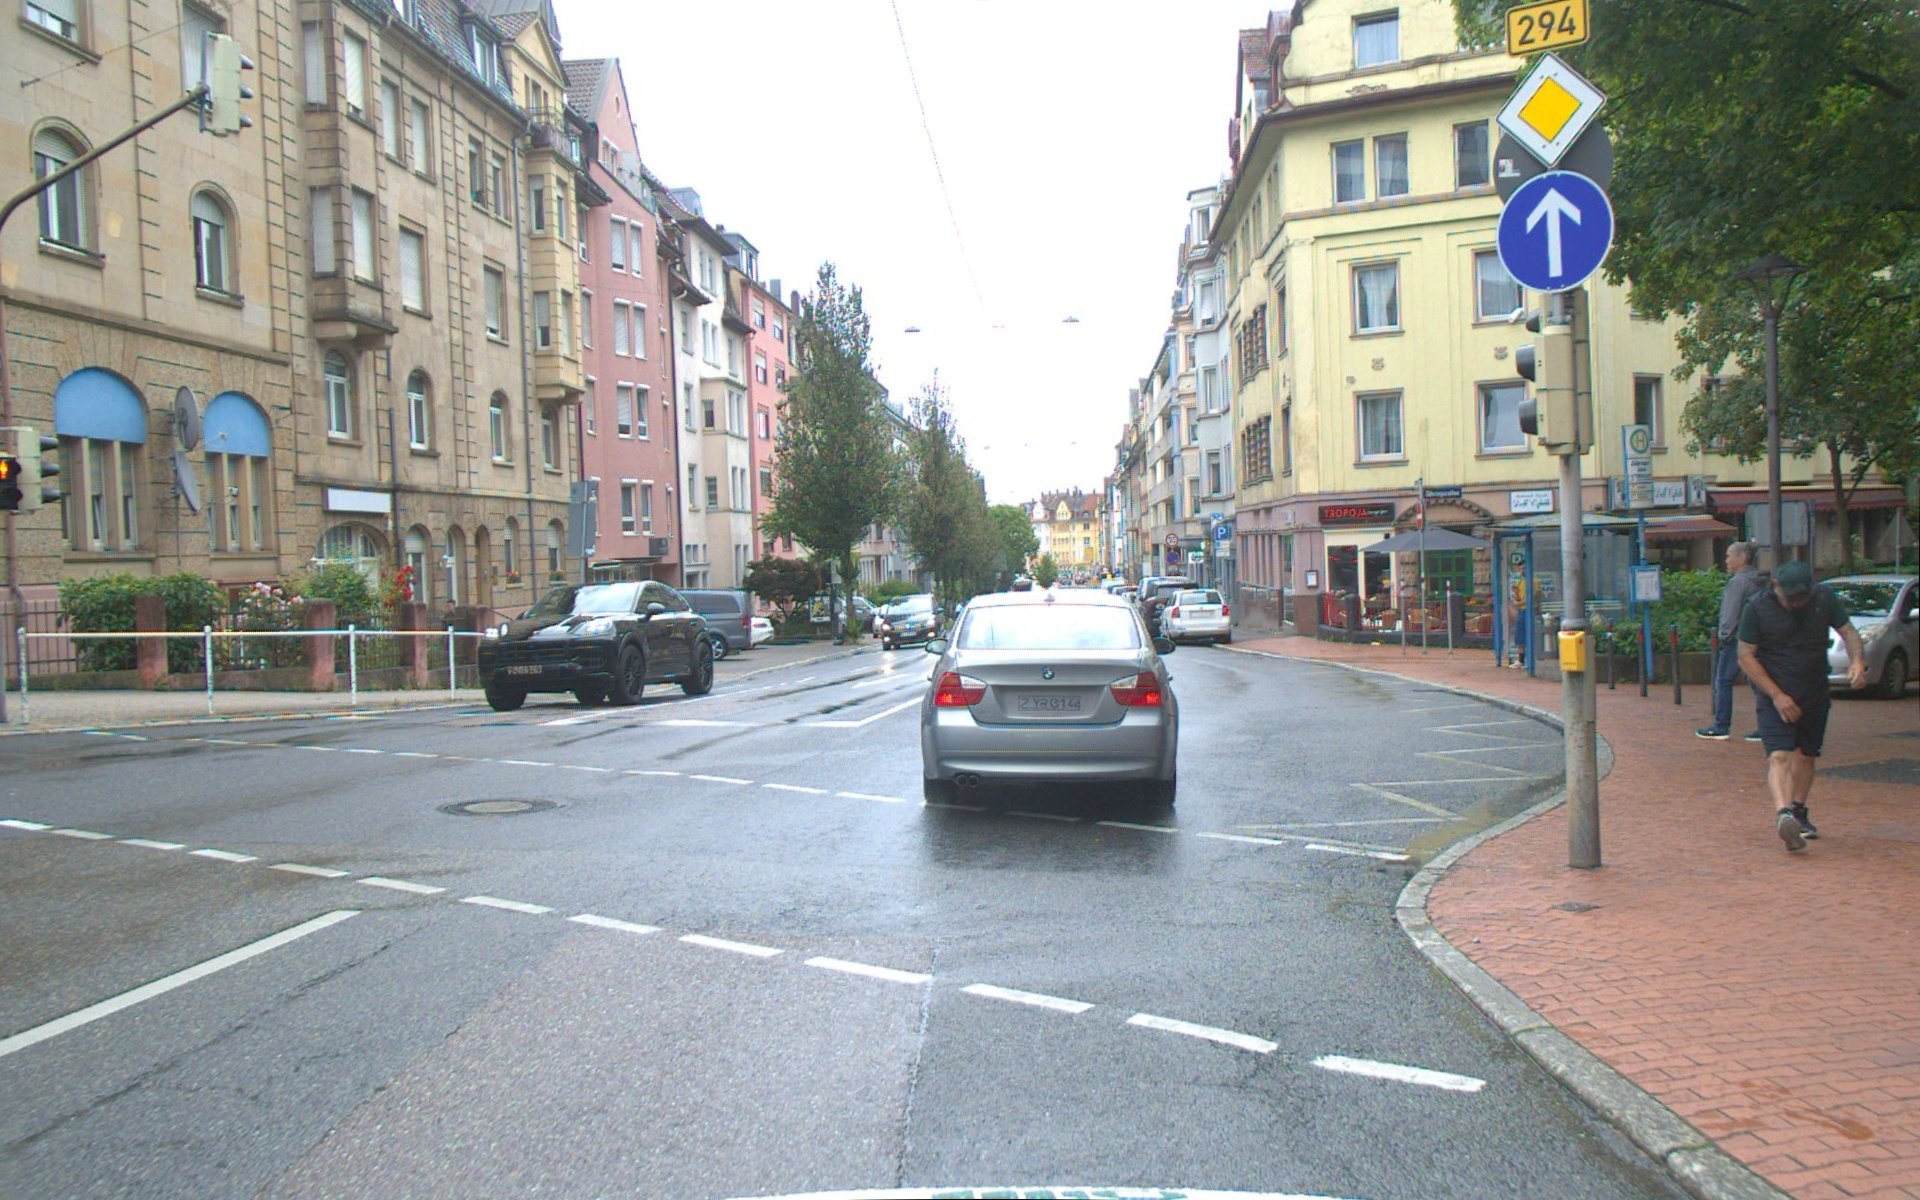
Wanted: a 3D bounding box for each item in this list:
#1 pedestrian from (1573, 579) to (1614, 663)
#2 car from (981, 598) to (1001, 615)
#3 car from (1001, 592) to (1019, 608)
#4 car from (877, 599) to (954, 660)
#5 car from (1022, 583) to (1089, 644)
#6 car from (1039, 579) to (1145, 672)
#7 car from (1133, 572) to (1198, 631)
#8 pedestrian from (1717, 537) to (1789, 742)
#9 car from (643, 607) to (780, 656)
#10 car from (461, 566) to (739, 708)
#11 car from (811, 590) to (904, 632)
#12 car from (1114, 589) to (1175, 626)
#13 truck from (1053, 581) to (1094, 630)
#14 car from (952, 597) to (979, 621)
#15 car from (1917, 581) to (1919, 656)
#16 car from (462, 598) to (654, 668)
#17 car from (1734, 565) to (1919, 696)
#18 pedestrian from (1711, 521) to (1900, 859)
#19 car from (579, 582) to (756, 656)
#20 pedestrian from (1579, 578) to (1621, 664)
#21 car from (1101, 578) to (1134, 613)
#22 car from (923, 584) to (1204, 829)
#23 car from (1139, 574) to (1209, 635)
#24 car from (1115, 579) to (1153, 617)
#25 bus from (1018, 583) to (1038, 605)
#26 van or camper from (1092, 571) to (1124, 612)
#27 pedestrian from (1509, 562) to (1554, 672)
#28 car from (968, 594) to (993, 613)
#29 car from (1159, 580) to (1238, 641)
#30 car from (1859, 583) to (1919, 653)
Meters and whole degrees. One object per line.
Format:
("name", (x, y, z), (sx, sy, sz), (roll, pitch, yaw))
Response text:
("pedestrian", (10.033, 0.324, 26.193), (0.557, 1.302, 0.619), (0, 0, 16))
("car", (3.079, 0.647, 164.746), (1.655, 1.550, 3.739), (-4, 0, 5))
("car", (5.197, -0.005, 170.555), (1.602, 1.534, 3.756), (-5, 0, 4))
("car", (-1.344, 0.897, 51.912), (1.586, 1.677, 4.423), (-5, 0, 8))
("car", (2.533, 0.352, 43.431), (1.662, 1.509, 3.795), (0, -1, 4))
("car", (2.240, 0.410, 27.908), (1.646, 1.453, 3.743), (0, 0, 5))
("car", (7.061, 0.056, 57.258), (1.879, 1.859, 5.011), (-3, 0, 4))
("pedestrian", (7.067, 0.336, 14.735), (0.560, 1.764, 0.731), (0, 0, 27))
("car", (-8.731, 1.100, 58.296), (4.453, 1.425, 1.768), (-3, 0, 3))
("car", (-4.810, 0.498, 22.921), (1.923, 1.723, 4.811), (-1, -1, 12))
("car", (-5.519, 0.570, 89.422), (4.728, 2.008, 2.049), (-3, 0, 4))
("car", (7.666, 0.309, 69.008), (1.837, 1.493, 4.772), (-1, 0, -2))
("truck", (5.790, 0.299, 84.618), (1.989, 2.455, 4.828), (0, -1, 3))
("car", (0.394, 0.663, 122.990), (1.730, 1.621, 4.001), (-4, 0, 3))
("car", (24.327, 0.450, 37.751), (1.772, 1.757, 3.951), (0, 1, -35))
("car", (-9.623, 0.773, 39.764), (4.060, 1.537, 1.874), (-1, 0, 4))
("car", (11.814, 0.380, 21.414), (3.635, 1.528, 1.748), (1, 1, -37))
("pedestrian", (4.592, 0.450, 8.970), (0.814, 1.708, 0.891), (0, 0, 34))
("car", (-7.899, 0.495, 45.000), (4.584, 1.972, 1.861), (0, 0, -6))
("pedestrian", (9.895, 0.319, 25.578), (0.557, 1.302, 0.535), (0, 0, 16))
("car", (10.487, -0.290, 110.118), (1.940, 2.203, 4.752), (-3, 0, 4))
("car", (0.647, 0.641, 12.089), (1.733, 1.453, 3.741), (0, 1, 0))
("car", (6.570, 0.135, 51.150), (1.839, 1.762, 4.679), (0, 0, 4))
("car", (10.027, -0.121, 95.560), (1.940, 2.042, 4.627), (-3, 0, 4))
("bus", (10.358, -0.880, 251.874), (2.613, 3.077, 7.674), (-3, 0, 4))
("van or camper", (10.855, -0.625, 120.623), (1.990, 2.919, 6.890), (1, 0, 7))
("pedestrian", (9.540, 0.273, 27.613), (0.549, 1.806, 0.543), (0, 0, 39))
("car", (1.782, 0.311, 144.457), (1.789, 1.550, 3.739), (-4, 0, 5))
("car", (6.537, 0.280, 45.732), (1.761, 1.592, 4.494), (0, 0, 3))
("car", (22.422, 0.399, 36.169), (1.772, 1.555, 4.591), (0, 1, -35))
